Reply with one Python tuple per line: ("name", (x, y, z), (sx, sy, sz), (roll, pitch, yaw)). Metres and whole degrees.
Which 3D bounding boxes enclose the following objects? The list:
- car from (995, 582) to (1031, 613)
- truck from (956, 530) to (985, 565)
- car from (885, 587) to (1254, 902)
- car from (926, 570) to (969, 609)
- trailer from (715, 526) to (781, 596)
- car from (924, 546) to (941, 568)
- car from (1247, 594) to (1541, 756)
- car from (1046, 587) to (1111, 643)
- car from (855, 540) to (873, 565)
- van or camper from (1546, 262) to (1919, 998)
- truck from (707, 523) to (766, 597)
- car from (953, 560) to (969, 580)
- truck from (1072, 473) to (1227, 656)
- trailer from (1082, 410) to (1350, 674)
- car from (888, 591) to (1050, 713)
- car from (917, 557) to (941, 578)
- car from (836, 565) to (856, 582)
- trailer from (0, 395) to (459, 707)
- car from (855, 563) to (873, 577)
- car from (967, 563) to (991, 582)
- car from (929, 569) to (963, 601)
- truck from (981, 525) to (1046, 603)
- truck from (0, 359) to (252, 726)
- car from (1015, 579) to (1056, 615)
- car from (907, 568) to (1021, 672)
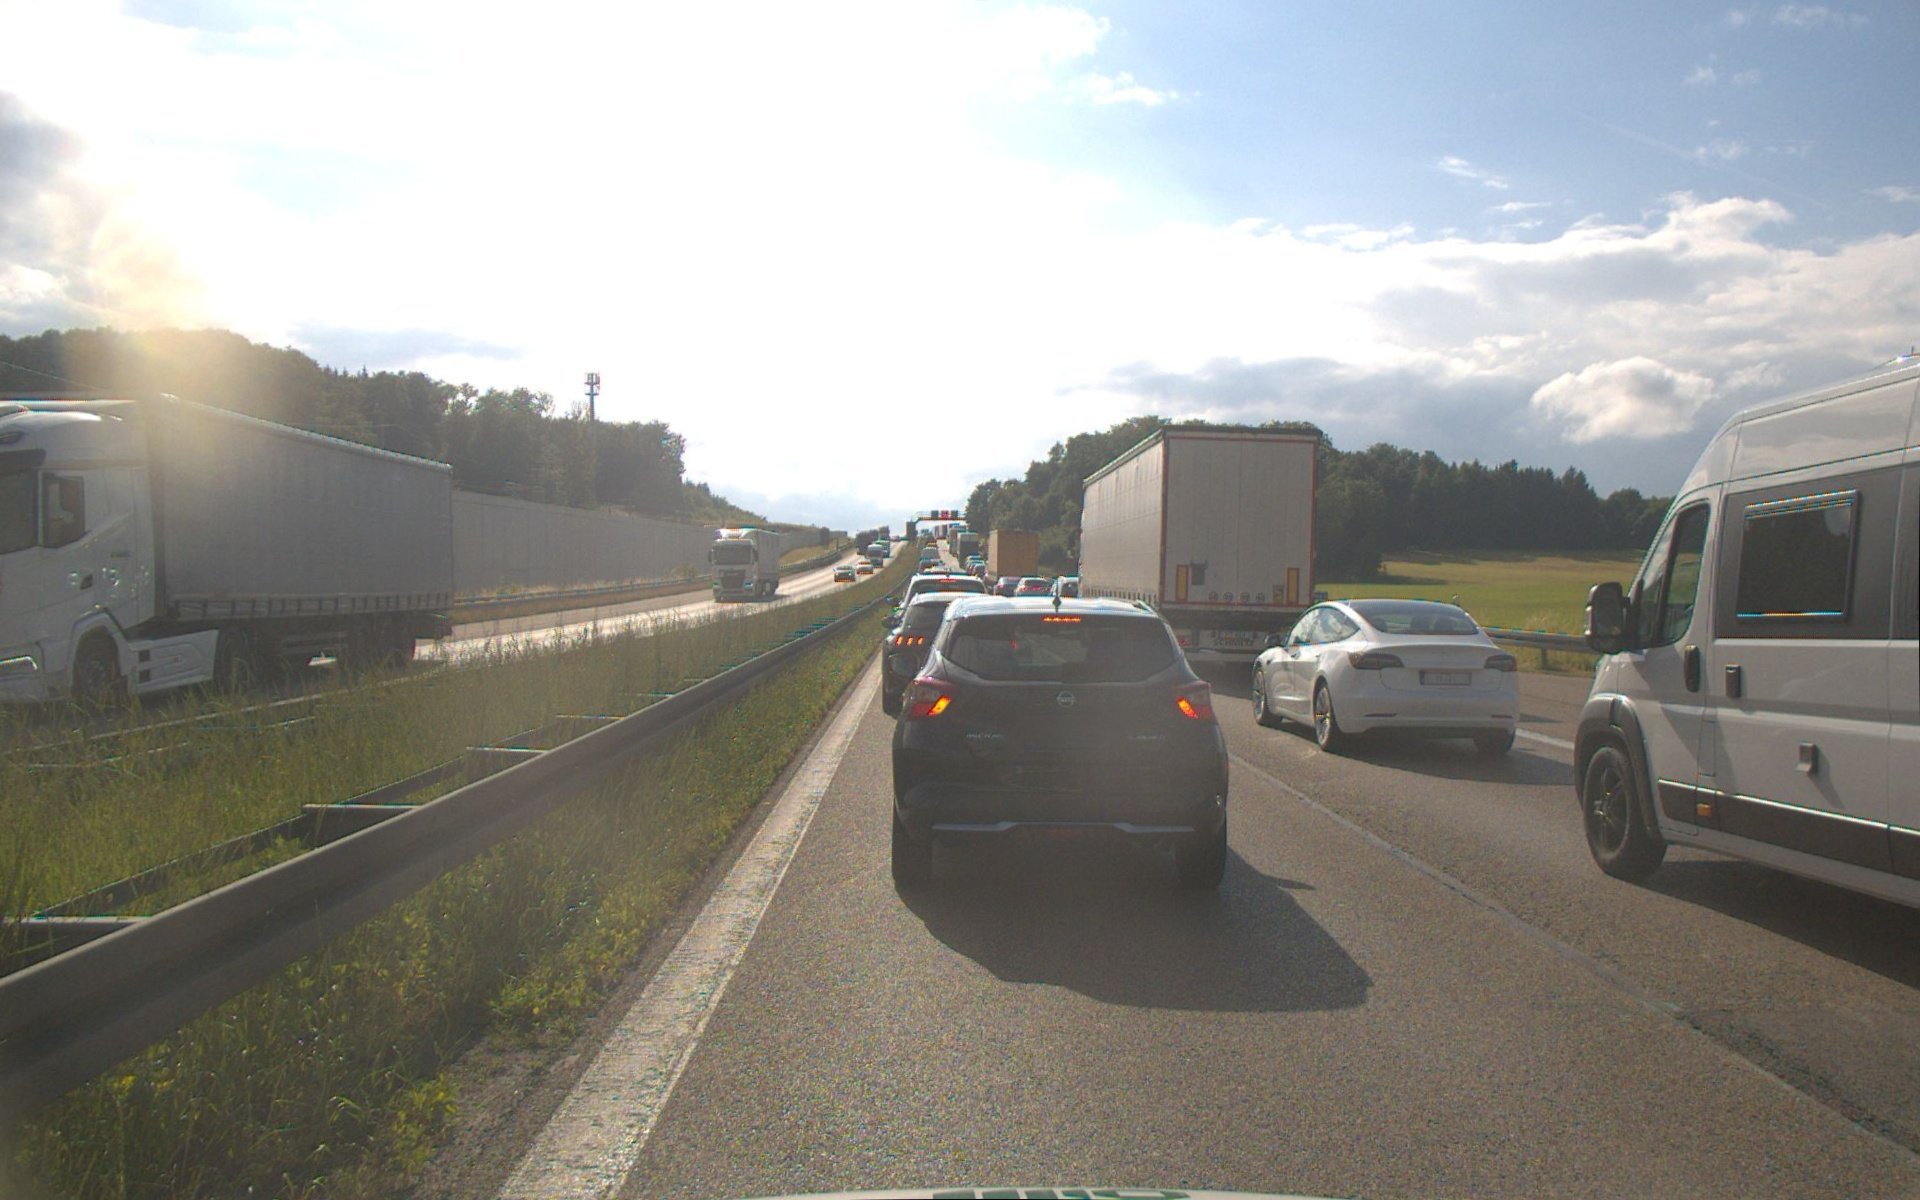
("car", (2.962, -0.179, 92.752), (1.835, 1.673, 4.232), (0, 1, -1))
("truck", (1.425, -7.273, 231.242), (3.395, 4.656, 12.437), (1, 2, -2))
("car", (0.488, 0.668, 9.897), (1.737, 1.476, 4.231), (0, 0, -1))
("car", (-0.556, -0.490, 73.221), (1.835, 1.673, 4.232), (0, 1, -1))
("trailer", (-13.416, -2.360, 105.817), (2.734, 4.148, 13.516), (-1, 0, -2))
("car", (-2.963, -4.651, 177.548), (1.835, 2.195, 5.211), (0, 3, -1))
("car", (4.288, 0.670, 17.085), (1.752, 1.418, 4.435), (0, 1, -2))
("car", (3.538, 0.419, 50.119), (1.663, 1.639, 4.437), (0, 0, 0))
("car", (-12.010, -5.903, 206.507), (2.061, 2.920, 5.635), (0, 0, -2))
("van or camper", (4.634, 0.108, 6.743), (2.170, 2.728, 6.331), (0, 0, -1))
("truck", (-13.232, -2.333, 98.326), (2.720, 4.159, 5.530), (-2, 0, -1))
("car", (0.116, -3.762, 205.718), (1.835, 2.195, 5.211), (0, 3, -1))
("truck", (4.443, -0.780, 39.831), (3.070, 4.086, 5.163), (1, -1, -1))
("trailer", (4.501, -0.847, 32.557), (3.067, 4.081, 13.364), (1, -1, 0))
("car", (0.078, 0.584, 20.887), (1.835, 1.381, 4.231), (0, 0, -1))
("car", (-2.527, -2.632, 133.589), (1.835, 1.672, 4.231), (0, 2, -2))
("car", (-10.255, -2.340, 149.017), (1.618, 1.476, 3.955), (0, 0, -1))
("trailer", (-11.977, -0.691, 28.779), (2.629, 4.108, 13.788), (-1, 0, -1))
("car", (-10.393, -3.265, 179.002), (1.835, 1.476, 4.231), (0, 0, -1))
("car", (1.685, -2.474, 148.682), (1.836, 1.672, 4.229), (0, 2, -4))
("car", (-0.779, -0.849, 92.059), (1.835, 1.672, 4.232), (0, 2, -1))
("truck", (3.303, -2.141, 106.329), (3.231, 4.657, 12.435), (1, 0, -2))
("truck", (-11.803, -0.658, 21.598), (2.631, 4.139, 5.878), (-1, 0, -1))
("car", (3.782, -0.174, 83.390), (1.835, 1.673, 4.232), (0, 1, -1))
("car", (0.033, 0.312, 28.769), (1.835, 1.673, 4.231), (0, 0, -1))
